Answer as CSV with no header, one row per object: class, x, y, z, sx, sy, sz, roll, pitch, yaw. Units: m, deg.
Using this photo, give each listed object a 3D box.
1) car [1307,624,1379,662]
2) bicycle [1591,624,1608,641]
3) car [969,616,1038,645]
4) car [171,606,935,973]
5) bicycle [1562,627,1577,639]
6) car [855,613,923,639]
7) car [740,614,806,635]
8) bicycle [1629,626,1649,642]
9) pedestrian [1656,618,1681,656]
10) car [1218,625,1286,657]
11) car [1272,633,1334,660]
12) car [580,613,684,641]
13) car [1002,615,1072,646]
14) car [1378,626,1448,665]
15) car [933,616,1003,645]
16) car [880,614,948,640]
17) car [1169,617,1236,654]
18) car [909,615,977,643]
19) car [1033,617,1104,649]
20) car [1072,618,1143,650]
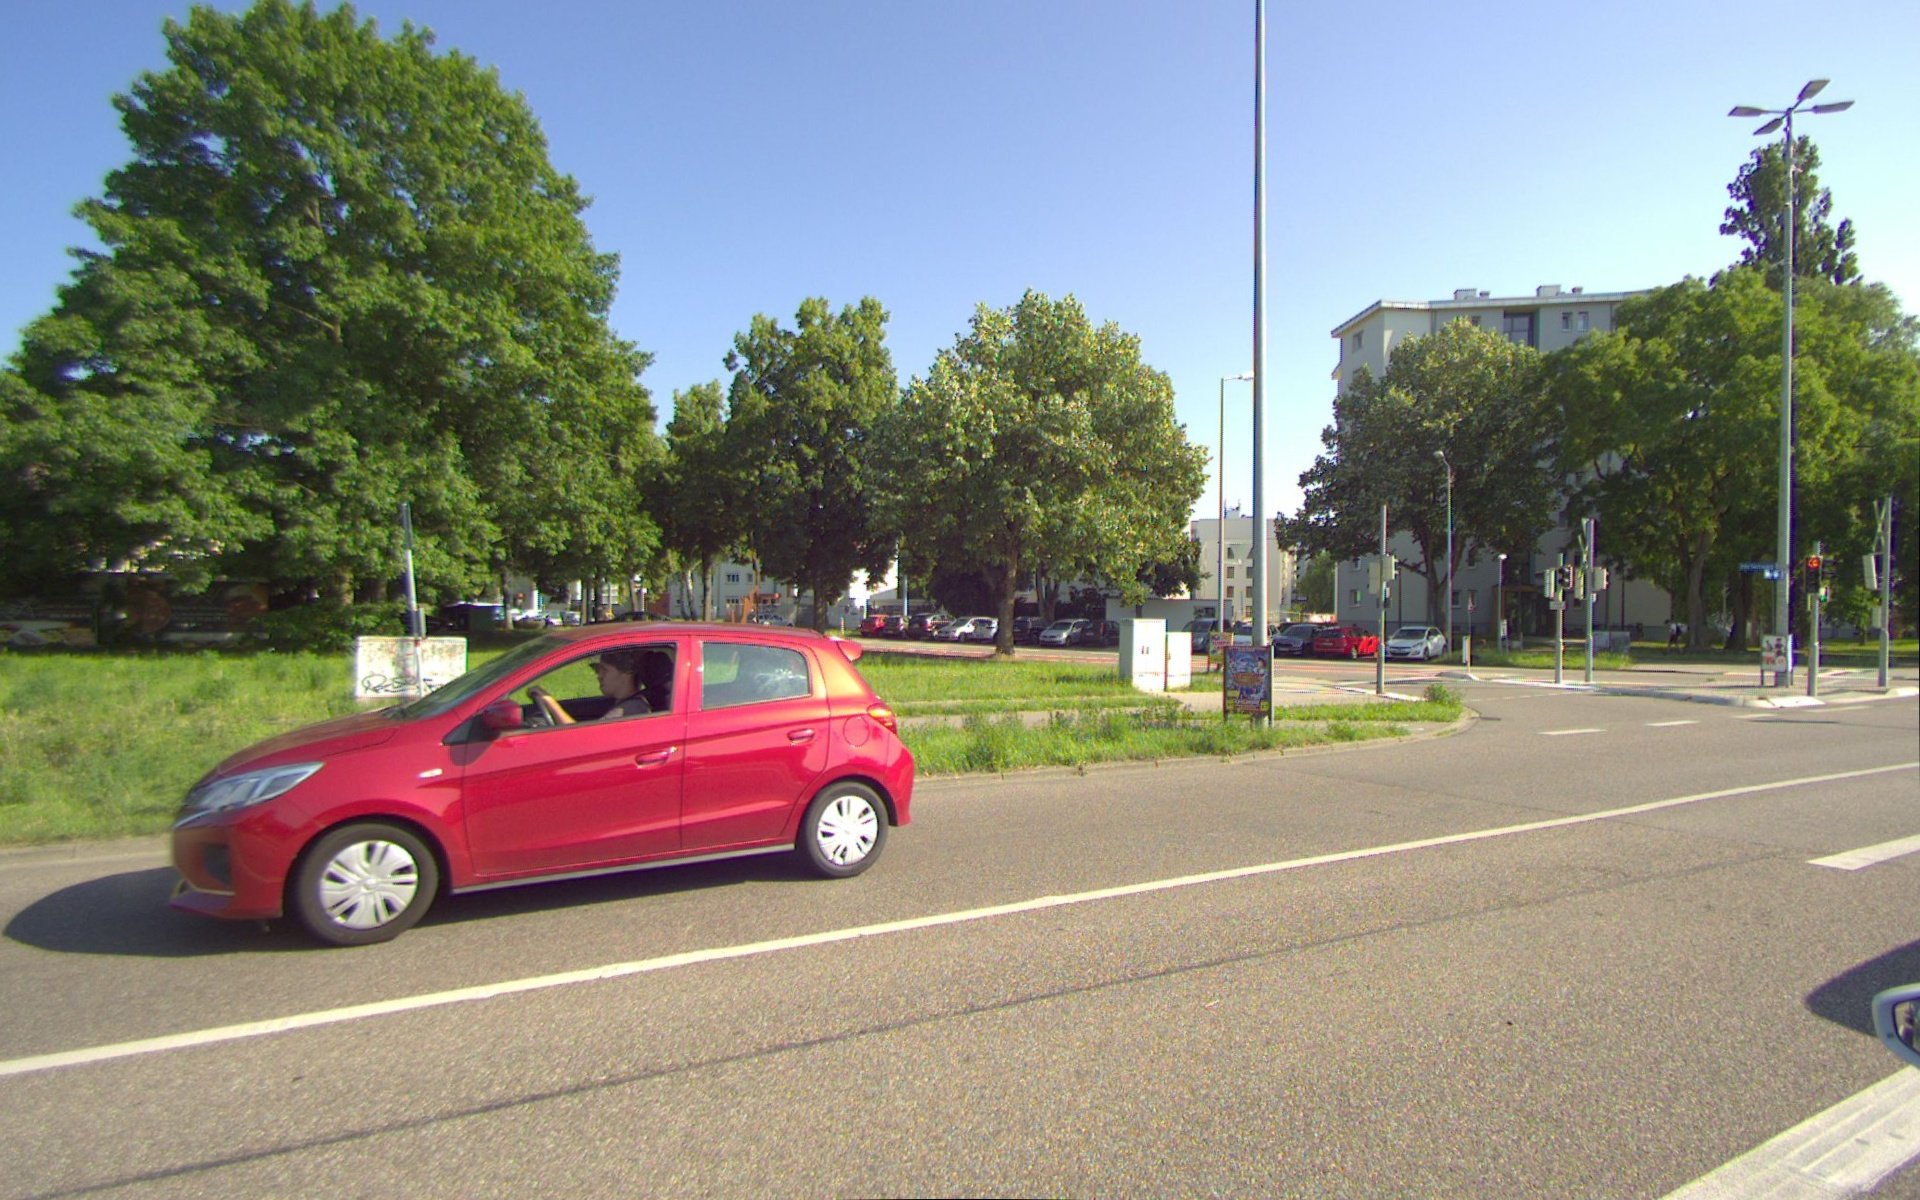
car,18.123,1.982,47.407,1.761,1.435,3.975,0,3,44
bicycle,40.777,2.090,64.064,0.601,1.080,1.916,1,-2,24
car,2.722,1.821,61.458,1.758,1.497,4.755,0,2,39
car,-2.132,0.842,5.844,3.634,1.518,1.686,1,-2,-31
bicycle,39.379,2.101,64.936,0.574,0.718,2.236,1,0,26
car,-4.792,1.752,68.345,1.758,1.497,4.791,0,2,39
car,-14.184,1.865,76.317,1.760,1.497,4.786,0,-1,43
bicycle,42.691,2.132,63.164,0.658,0.932,2.404,1,-1,26
pedestrian,32.770,1.694,46.461,0.693,1.736,0.623,-1,0,-18
car,14.715,2.021,50.562,1.759,1.541,3.979,0,-1,41
car,16.651,2.205,48.676,1.445,1.209,3.765,0,-1,43
car,-16.231,1.333,49.869,4.682,1.338,1.524,1,-1,-8
car,4.623,1.799,59.882,1.758,1.497,4.791,0,3,39
car,20.459,2.008,45.300,1.760,1.459,3.977,0,2,43
car,0.524,1.866,62.701,1.758,1.497,4.791,0,2,39
car,-3.028,1.759,66.877,1.758,1.497,4.791,0,2,39
car,12.693,1.849,52.400,1.759,1.835,3.979,0,-1,41
car,-1.048,1.817,64.625,1.758,1.497,4.791,0,2,39
car,6.282,1.839,57.806,1.758,1.497,4.692,0,3,39
car,8.438,1.895,57.153,1.758,1.497,4.791,0,2,39
